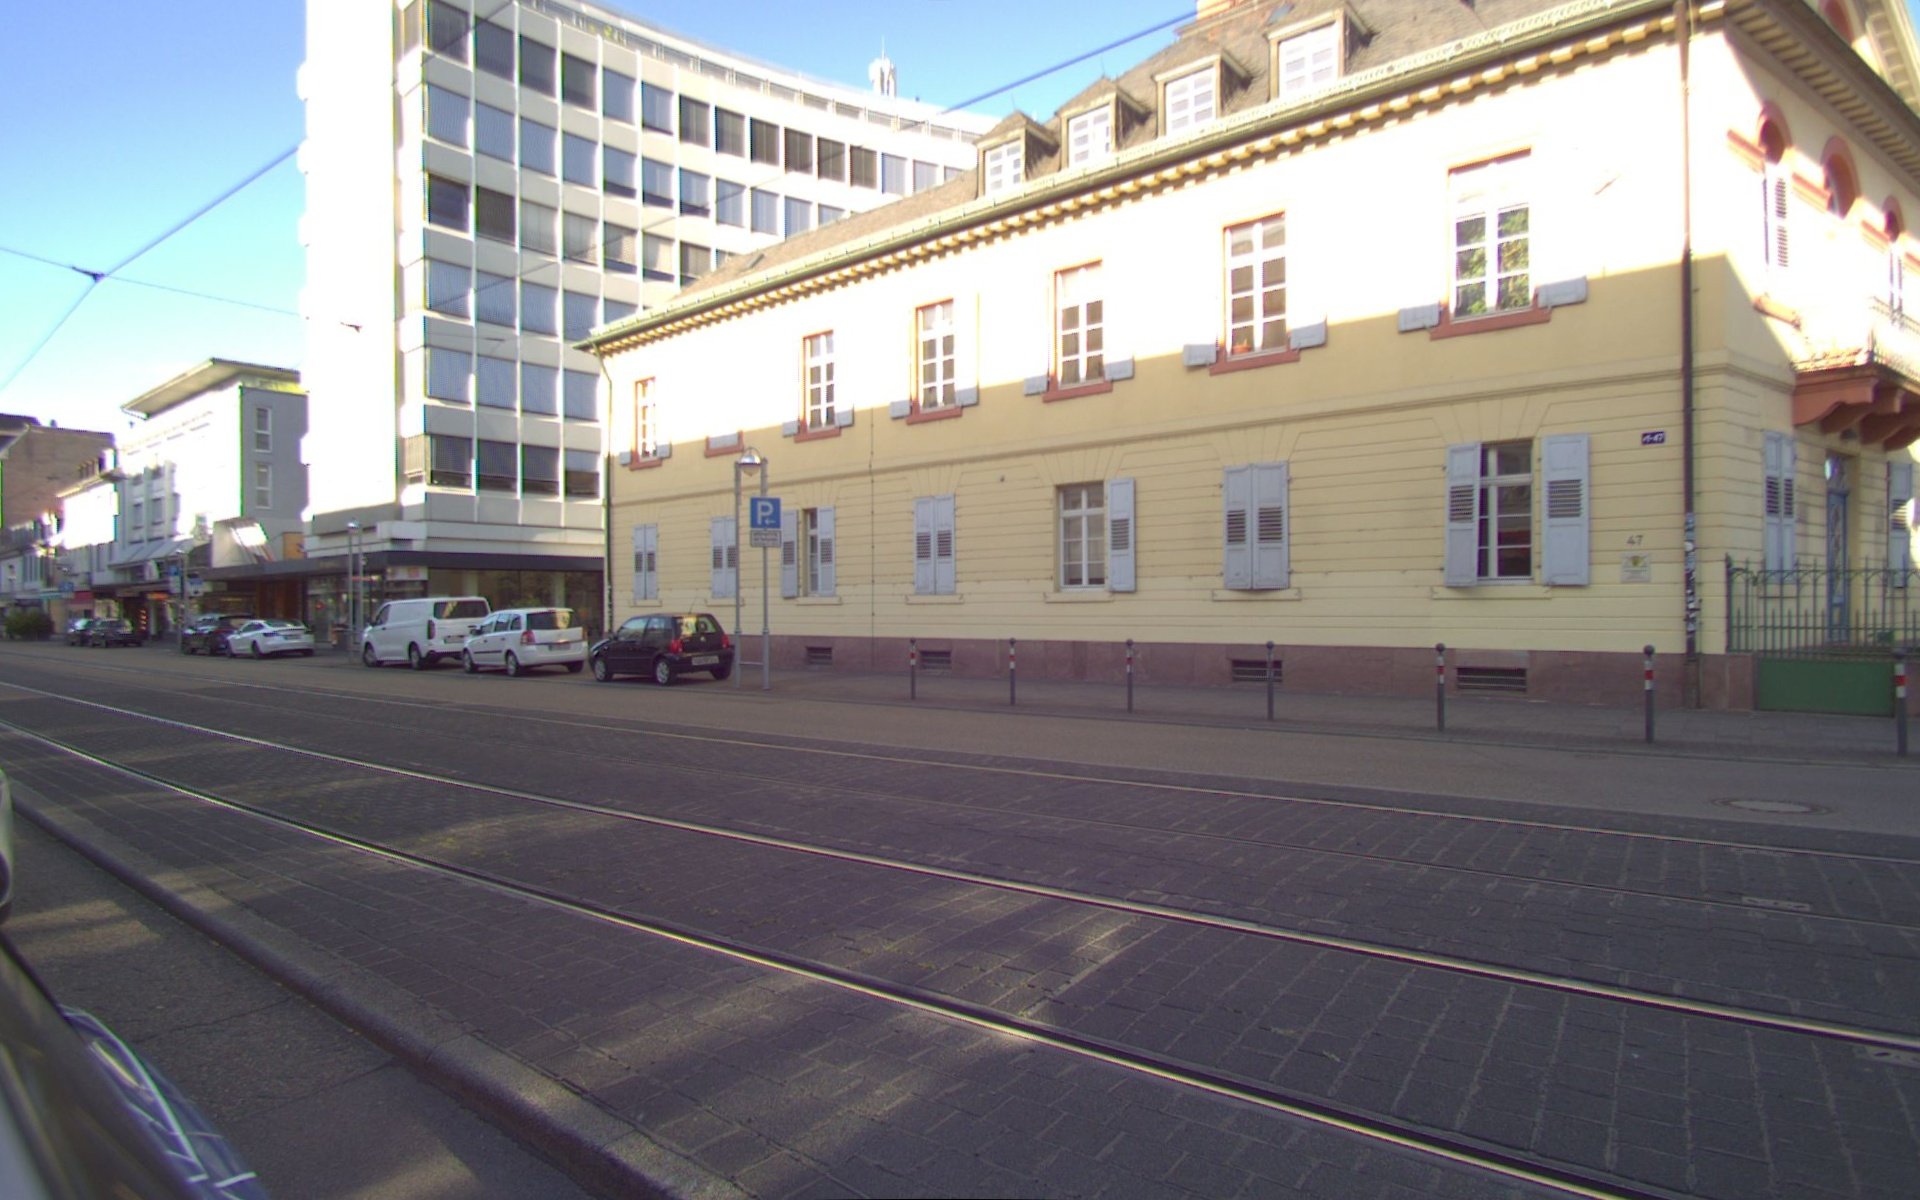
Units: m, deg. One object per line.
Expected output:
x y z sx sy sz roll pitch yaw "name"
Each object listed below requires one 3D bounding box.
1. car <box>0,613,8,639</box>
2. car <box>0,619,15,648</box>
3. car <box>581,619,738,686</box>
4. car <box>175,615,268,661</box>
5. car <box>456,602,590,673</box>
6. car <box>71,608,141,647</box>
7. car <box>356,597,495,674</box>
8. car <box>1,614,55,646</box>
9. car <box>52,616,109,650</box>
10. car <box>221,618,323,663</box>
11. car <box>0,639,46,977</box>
-78.664 2.093 81.764 3.995 2.029 1.974 -1 0 38 "car"
-71.150 2.467 74.458 3.998 2.029 1.973 -1 -1 41 "car"
-6.392 1.047 21.433 3.210 1.263 1.667 -1 0 39 "car"
-29.906 1.495 40.956 4.103 1.717 1.975 -1 0 38 "car"
-11.001 0.893 25.352 4.005 1.621 1.619 -1 0 43 "car"
-43.921 1.391 52.010 3.995 1.874 1.974 -1 0 38 "car"
-15.349 0.972 28.942 4.619 2.029 2.014 -1 -1 41 "car"
-62.815 2.013 68.197 3.996 2.058 2.172 -1 -1 39 "car"
-50.162 1.861 57.695 3.994 1.896 1.768 -1 -1 38 "car"
-25.621 1.448 37.619 4.369 1.541 1.974 -1 0 39 "car"
-6.078 0.903 4.773 3.992 1.393 1.862 -1 0 36 "car"
